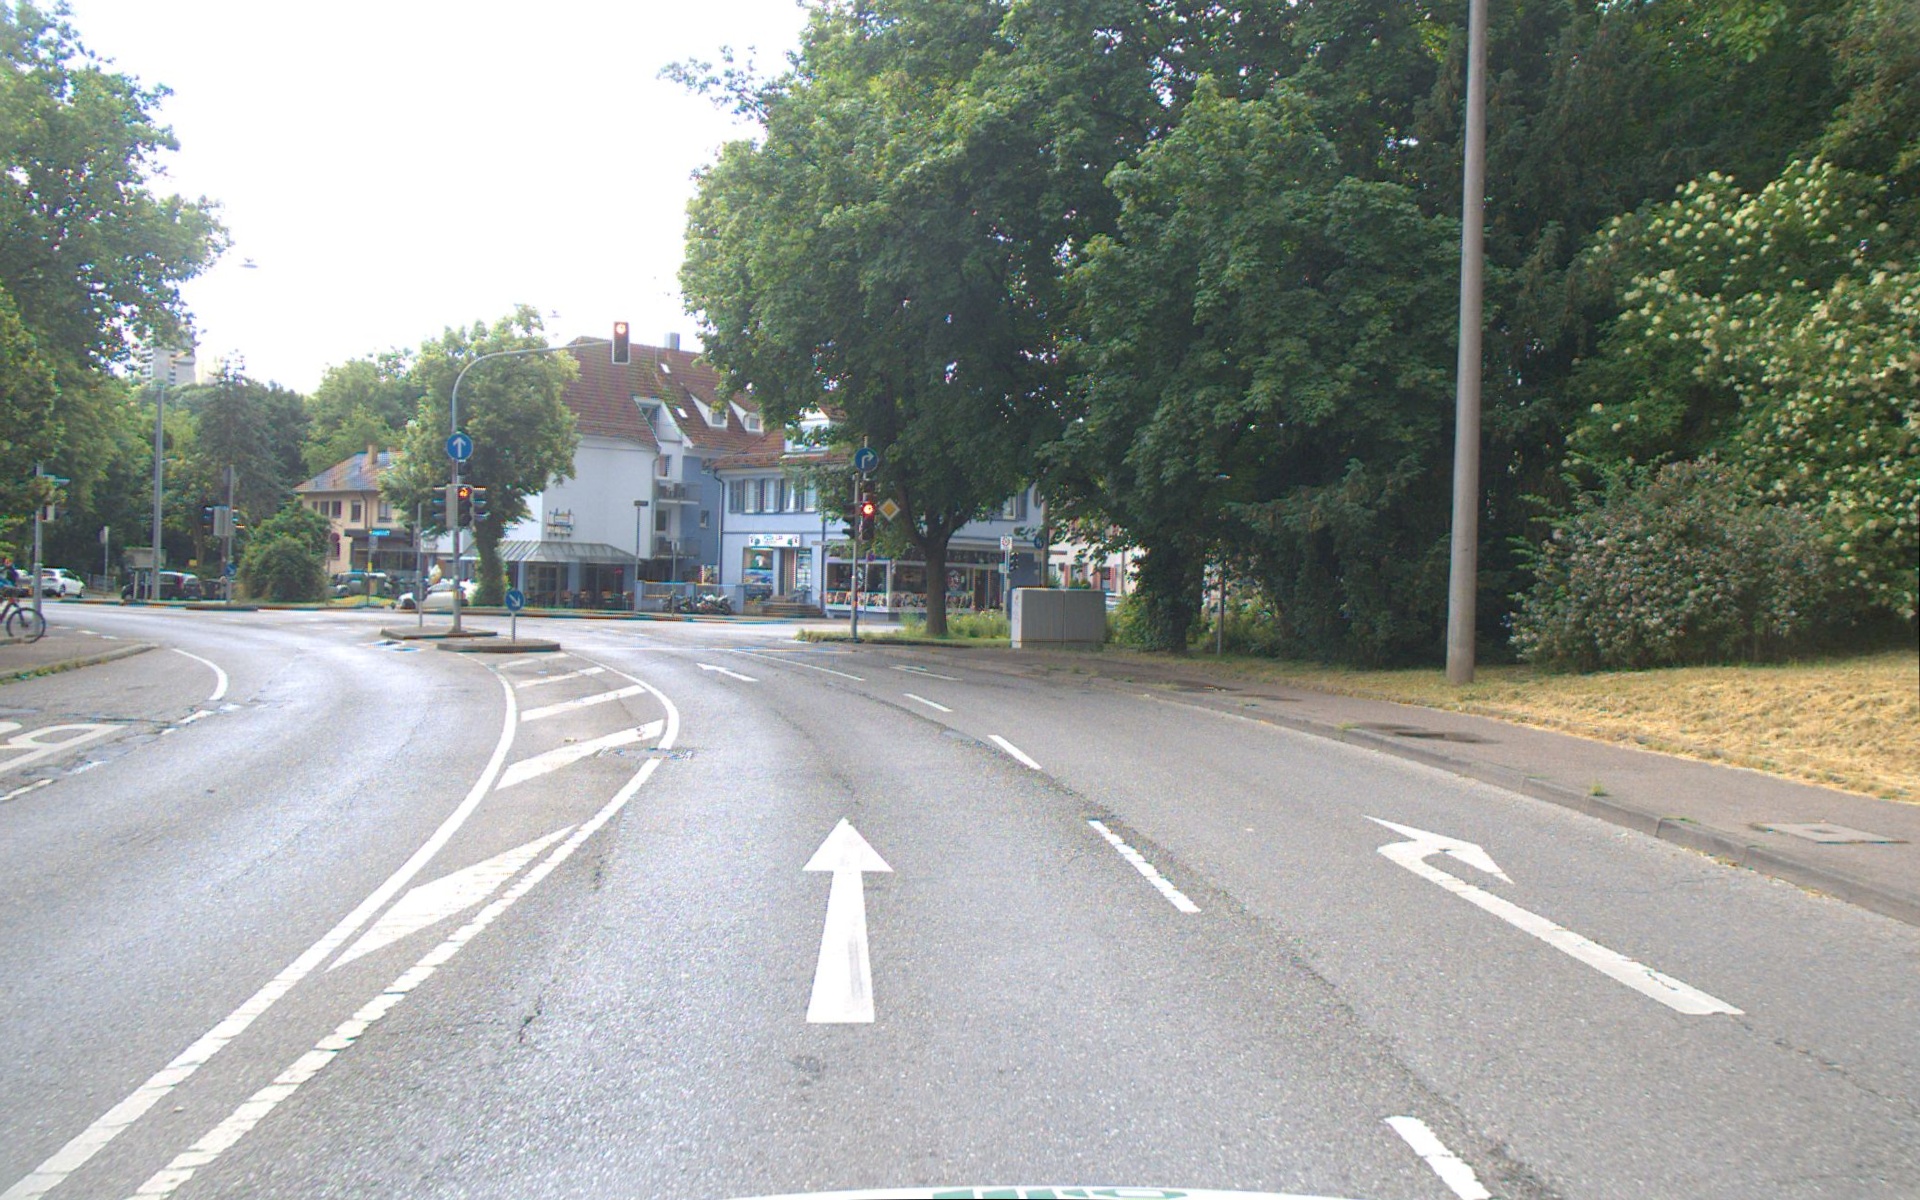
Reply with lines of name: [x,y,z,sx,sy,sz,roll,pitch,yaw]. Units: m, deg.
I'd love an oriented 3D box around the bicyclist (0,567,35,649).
bicyclist: [-19.125,0.149,33.037,1.087,1.627,0.931,1,0,-30]

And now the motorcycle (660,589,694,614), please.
motorcycle: [-13.538,0.080,79.185,1.463,1.126,0.561,0,5,12]

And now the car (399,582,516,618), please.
car: [-21.731,-0.023,71.593,4.480,1.544,2.002,0,0,14]

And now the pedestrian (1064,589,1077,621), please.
pedestrian: [5.476,0.263,81.992,0.491,1.579,0.402,0,0,41]

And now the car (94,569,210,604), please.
car: [-36.622,-0.615,75.018,4.480,1.544,2.002,0,0,14]

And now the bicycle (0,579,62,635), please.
bicycle: [-19.130,0.128,33.042,2.049,1.101,0.931,1,0,-31]

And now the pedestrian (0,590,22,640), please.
pedestrian: [-42.249,0.650,73.364,0.839,2.216,0.776,0,0,17]

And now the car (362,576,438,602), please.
car: [-33.197,-0.664,98.147,3.963,1.512,1.734,0,1,-40]

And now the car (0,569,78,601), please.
car: [-47.395,-0.756,84.225,3.902,1.601,2.002,0,0,7]

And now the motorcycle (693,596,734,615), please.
motorcycle: [-11.629,0.249,78.047,1.797,0.862,0.561,0,6,16]
